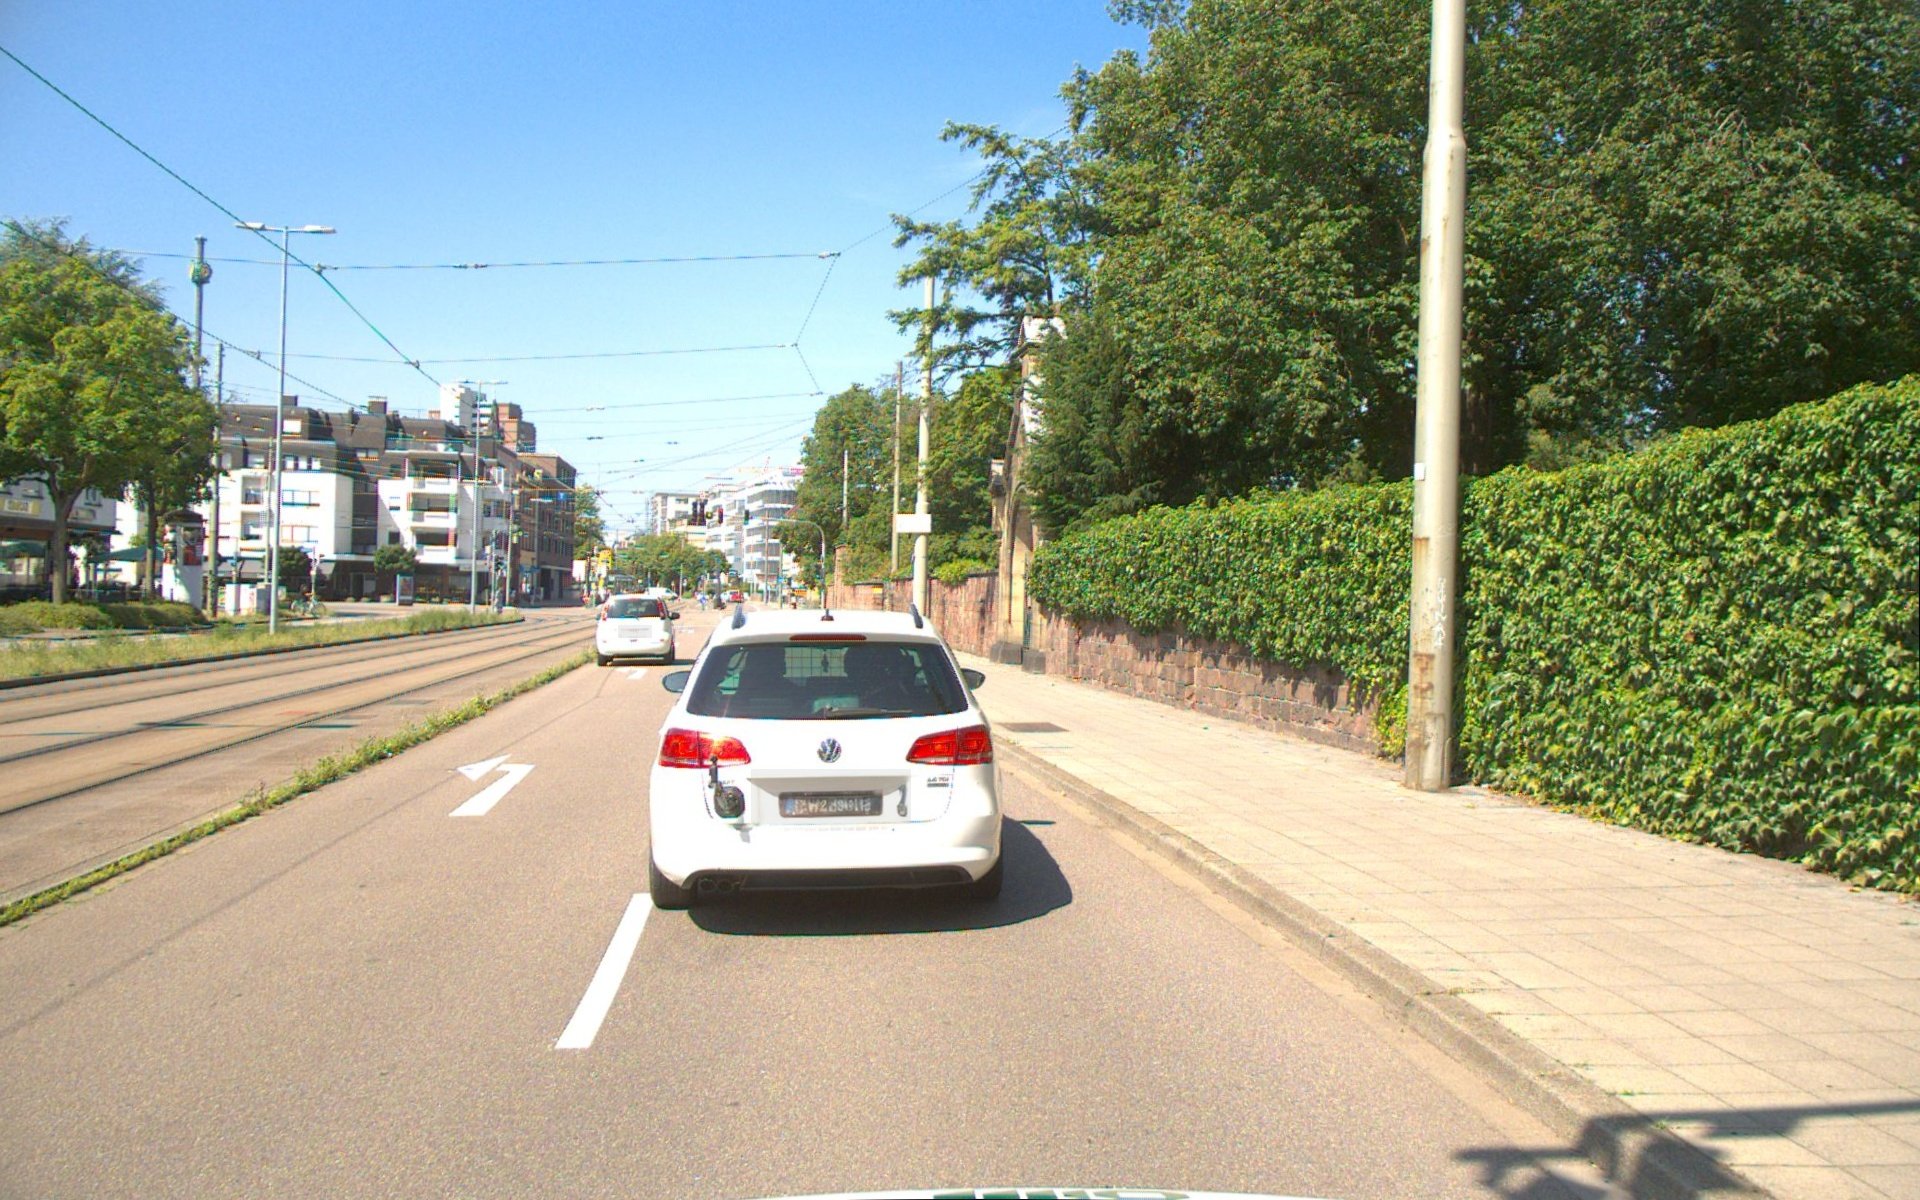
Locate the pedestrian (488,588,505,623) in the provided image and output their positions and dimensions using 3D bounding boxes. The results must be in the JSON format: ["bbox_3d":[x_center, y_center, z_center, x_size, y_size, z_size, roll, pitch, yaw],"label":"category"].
[{"bbox_3d":[-24.192,0.288,86.305,0.812,1.769,0.928,1,0,-16],"label":"pedestrian"}]

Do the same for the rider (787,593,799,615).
[{"bbox_3d":[-13.766,0.307,136.516,0.874,1.759,2.200,1,0,-7],"label":"rider"}]

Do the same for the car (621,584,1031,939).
[{"bbox_3d":[-0.687,0.692,9.041,1.743,1.516,3.844,1,0,-4],"label":"car"}]

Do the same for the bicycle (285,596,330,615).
[{"bbox_3d":[-32.924,0.298,83.485,0.542,0.937,2.169,0,0,35],"label":"bicycle"}]

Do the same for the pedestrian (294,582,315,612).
[{"bbox_3d":[-33.262,-0.172,83.973,0.555,1.513,0.813,1,0,35],"label":"pedestrian"}]

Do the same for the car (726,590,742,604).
[{"bbox_3d":[-32.972,-0.481,240.805,1.959,1.937,3.987,1,0,-13],"label":"car"}]

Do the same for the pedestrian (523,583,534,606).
[{"bbox_3d":[-39.612,-0.489,151.861,0.920,2.049,0.987,1,0,-14],"label":"pedestrian"}]

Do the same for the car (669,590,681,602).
[{"bbox_3d":[-40.751,-0.584,236.302,1.667,1.619,3.527,0,0,-9],"label":"car"}]

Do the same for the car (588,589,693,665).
[{"bbox_3d":[-7.237,0.583,37.813,1.695,1.624,4.010,0,0,-2],"label":"car"}]
